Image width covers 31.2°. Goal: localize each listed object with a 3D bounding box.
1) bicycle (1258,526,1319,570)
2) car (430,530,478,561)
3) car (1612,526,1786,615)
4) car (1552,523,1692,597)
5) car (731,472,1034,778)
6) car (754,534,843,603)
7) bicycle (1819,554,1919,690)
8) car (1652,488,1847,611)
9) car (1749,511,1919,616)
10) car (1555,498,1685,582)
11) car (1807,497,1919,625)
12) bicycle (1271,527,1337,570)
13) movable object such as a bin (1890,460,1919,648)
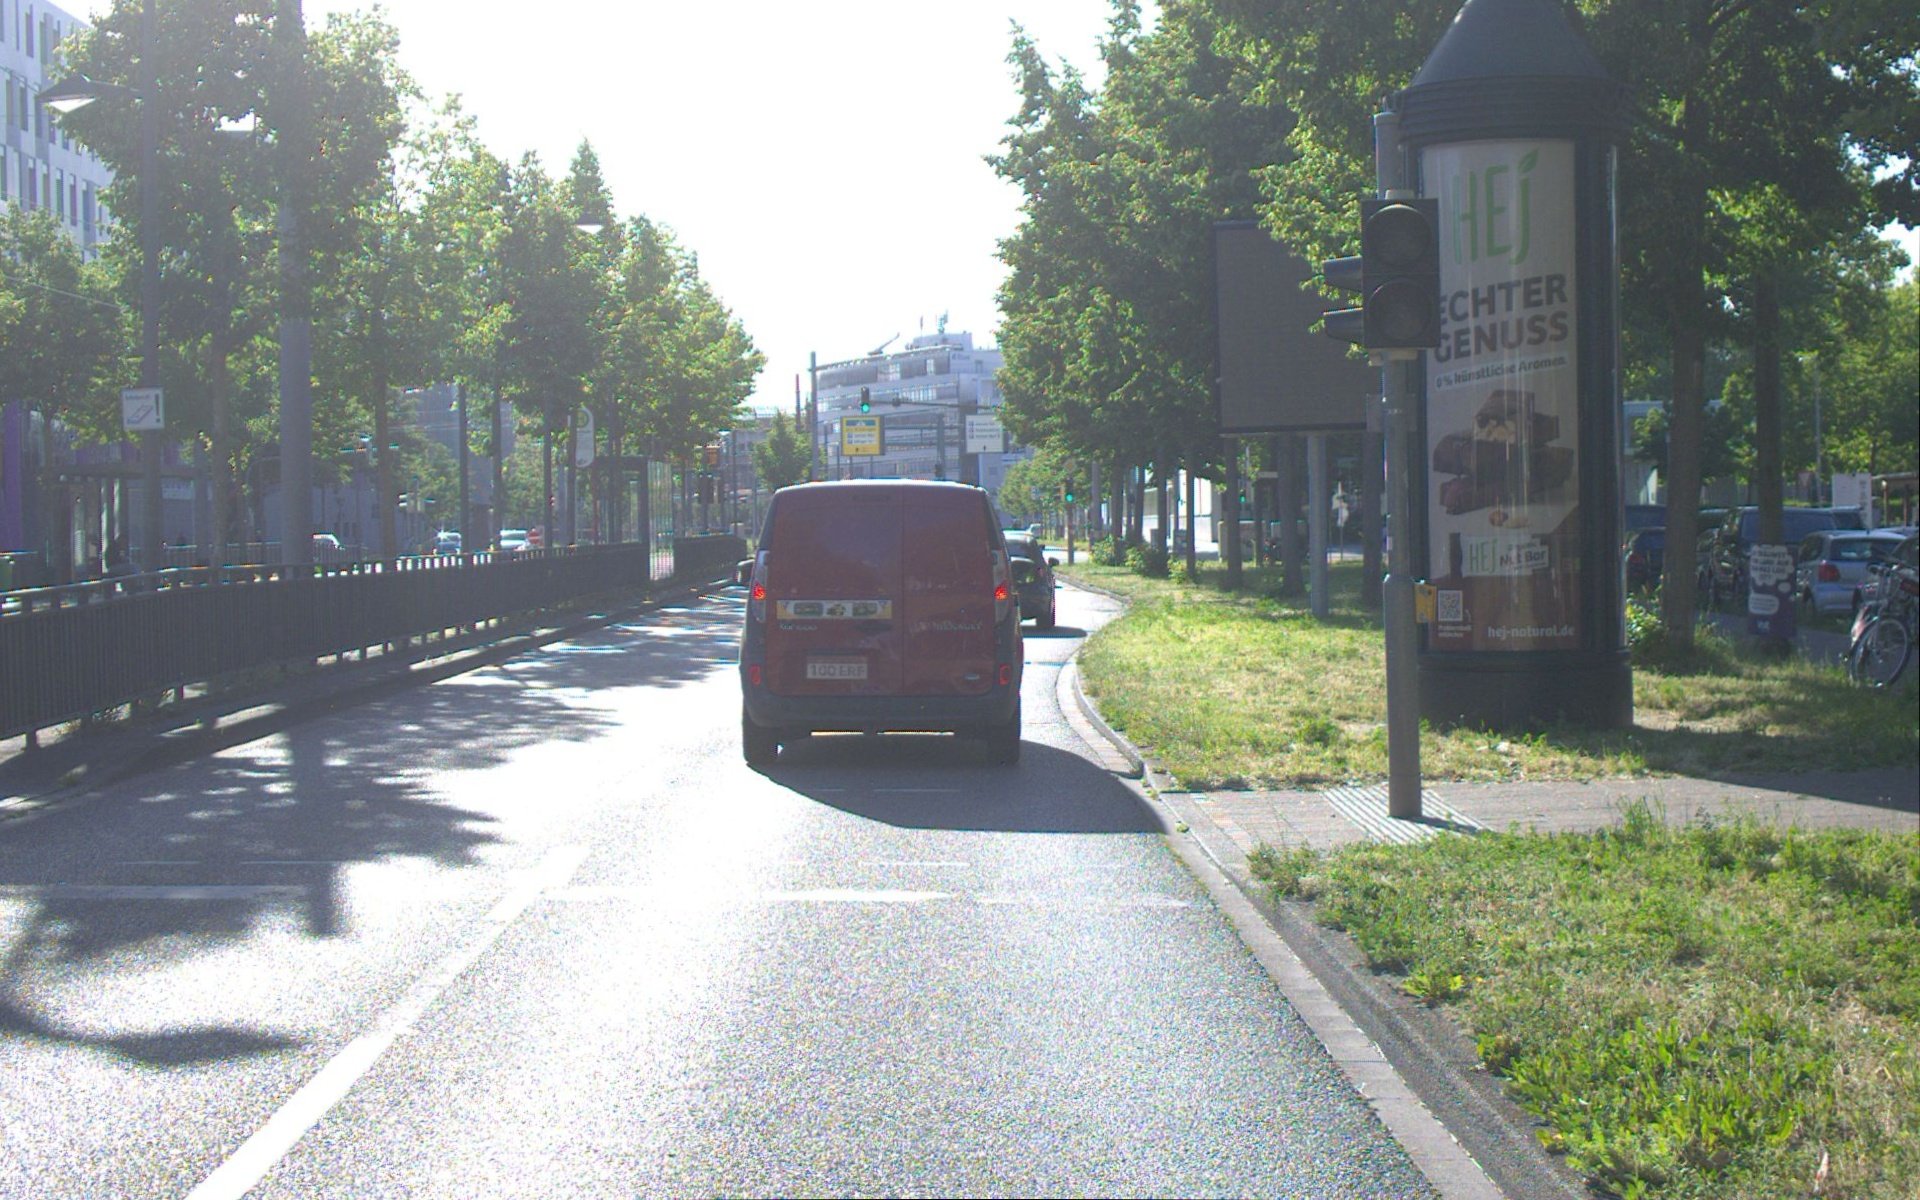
[{"bbox_3d":[9.875,-1.563,103.372,1.778,1.264,0.479,1,1,1],"label":"bicycle"},{"bbox_3d":[-29.915,-3.219,203.518,1.994,1.758,4.000,1,1,4],"label":"car"},{"bbox_3d":[12.669,-0.522,59.215,1.871,1.429,4.902,1,1,-1],"label":"car"},{"bbox_3d":[12.722,-0.774,66.297,1.871,1.363,4.000,1,1,-1],"label":"car"},{"bbox_3d":[-0.583,0.125,22.823,1.808,1.831,4.001,1,1,-3],"label":"car"},{"bbox_3d":[-3.958,-0.788,84.721,1.993,1.612,4.000,1,1,0],"label":"car"},{"bbox_3d":[7.348,0.160,27.499,0.493,1.043,1.904,1,1,1],"label":"bicycle"},{"bbox_3d":[12.393,-0.793,54.240,1.871,1.814,4.893,1,1,-1],"label":"car"},{"bbox_3d":[12.498,-0.512,48.240,1.871,1.384,4.000,1,1,-1],"label":"car"},{"bbox_3d":[13.665,-1.239,71.390,1.871,1.678,4.000,1,1,-1],"label":"car"},{"bbox_3d":[12.268,-0.481,43.340,1.871,1.519,5.056,1,1,-1],"label":"car"},{"bbox_3d":[10.278,-1.539,102.688,1.918,1.264,0.479,0,1,1],"label":"bicycle"},{"bbox_3d":[11.314,-0.478,37.014,2.081,2.007,2.136,1,1,4],"label":"movable object such as a bin"}]
